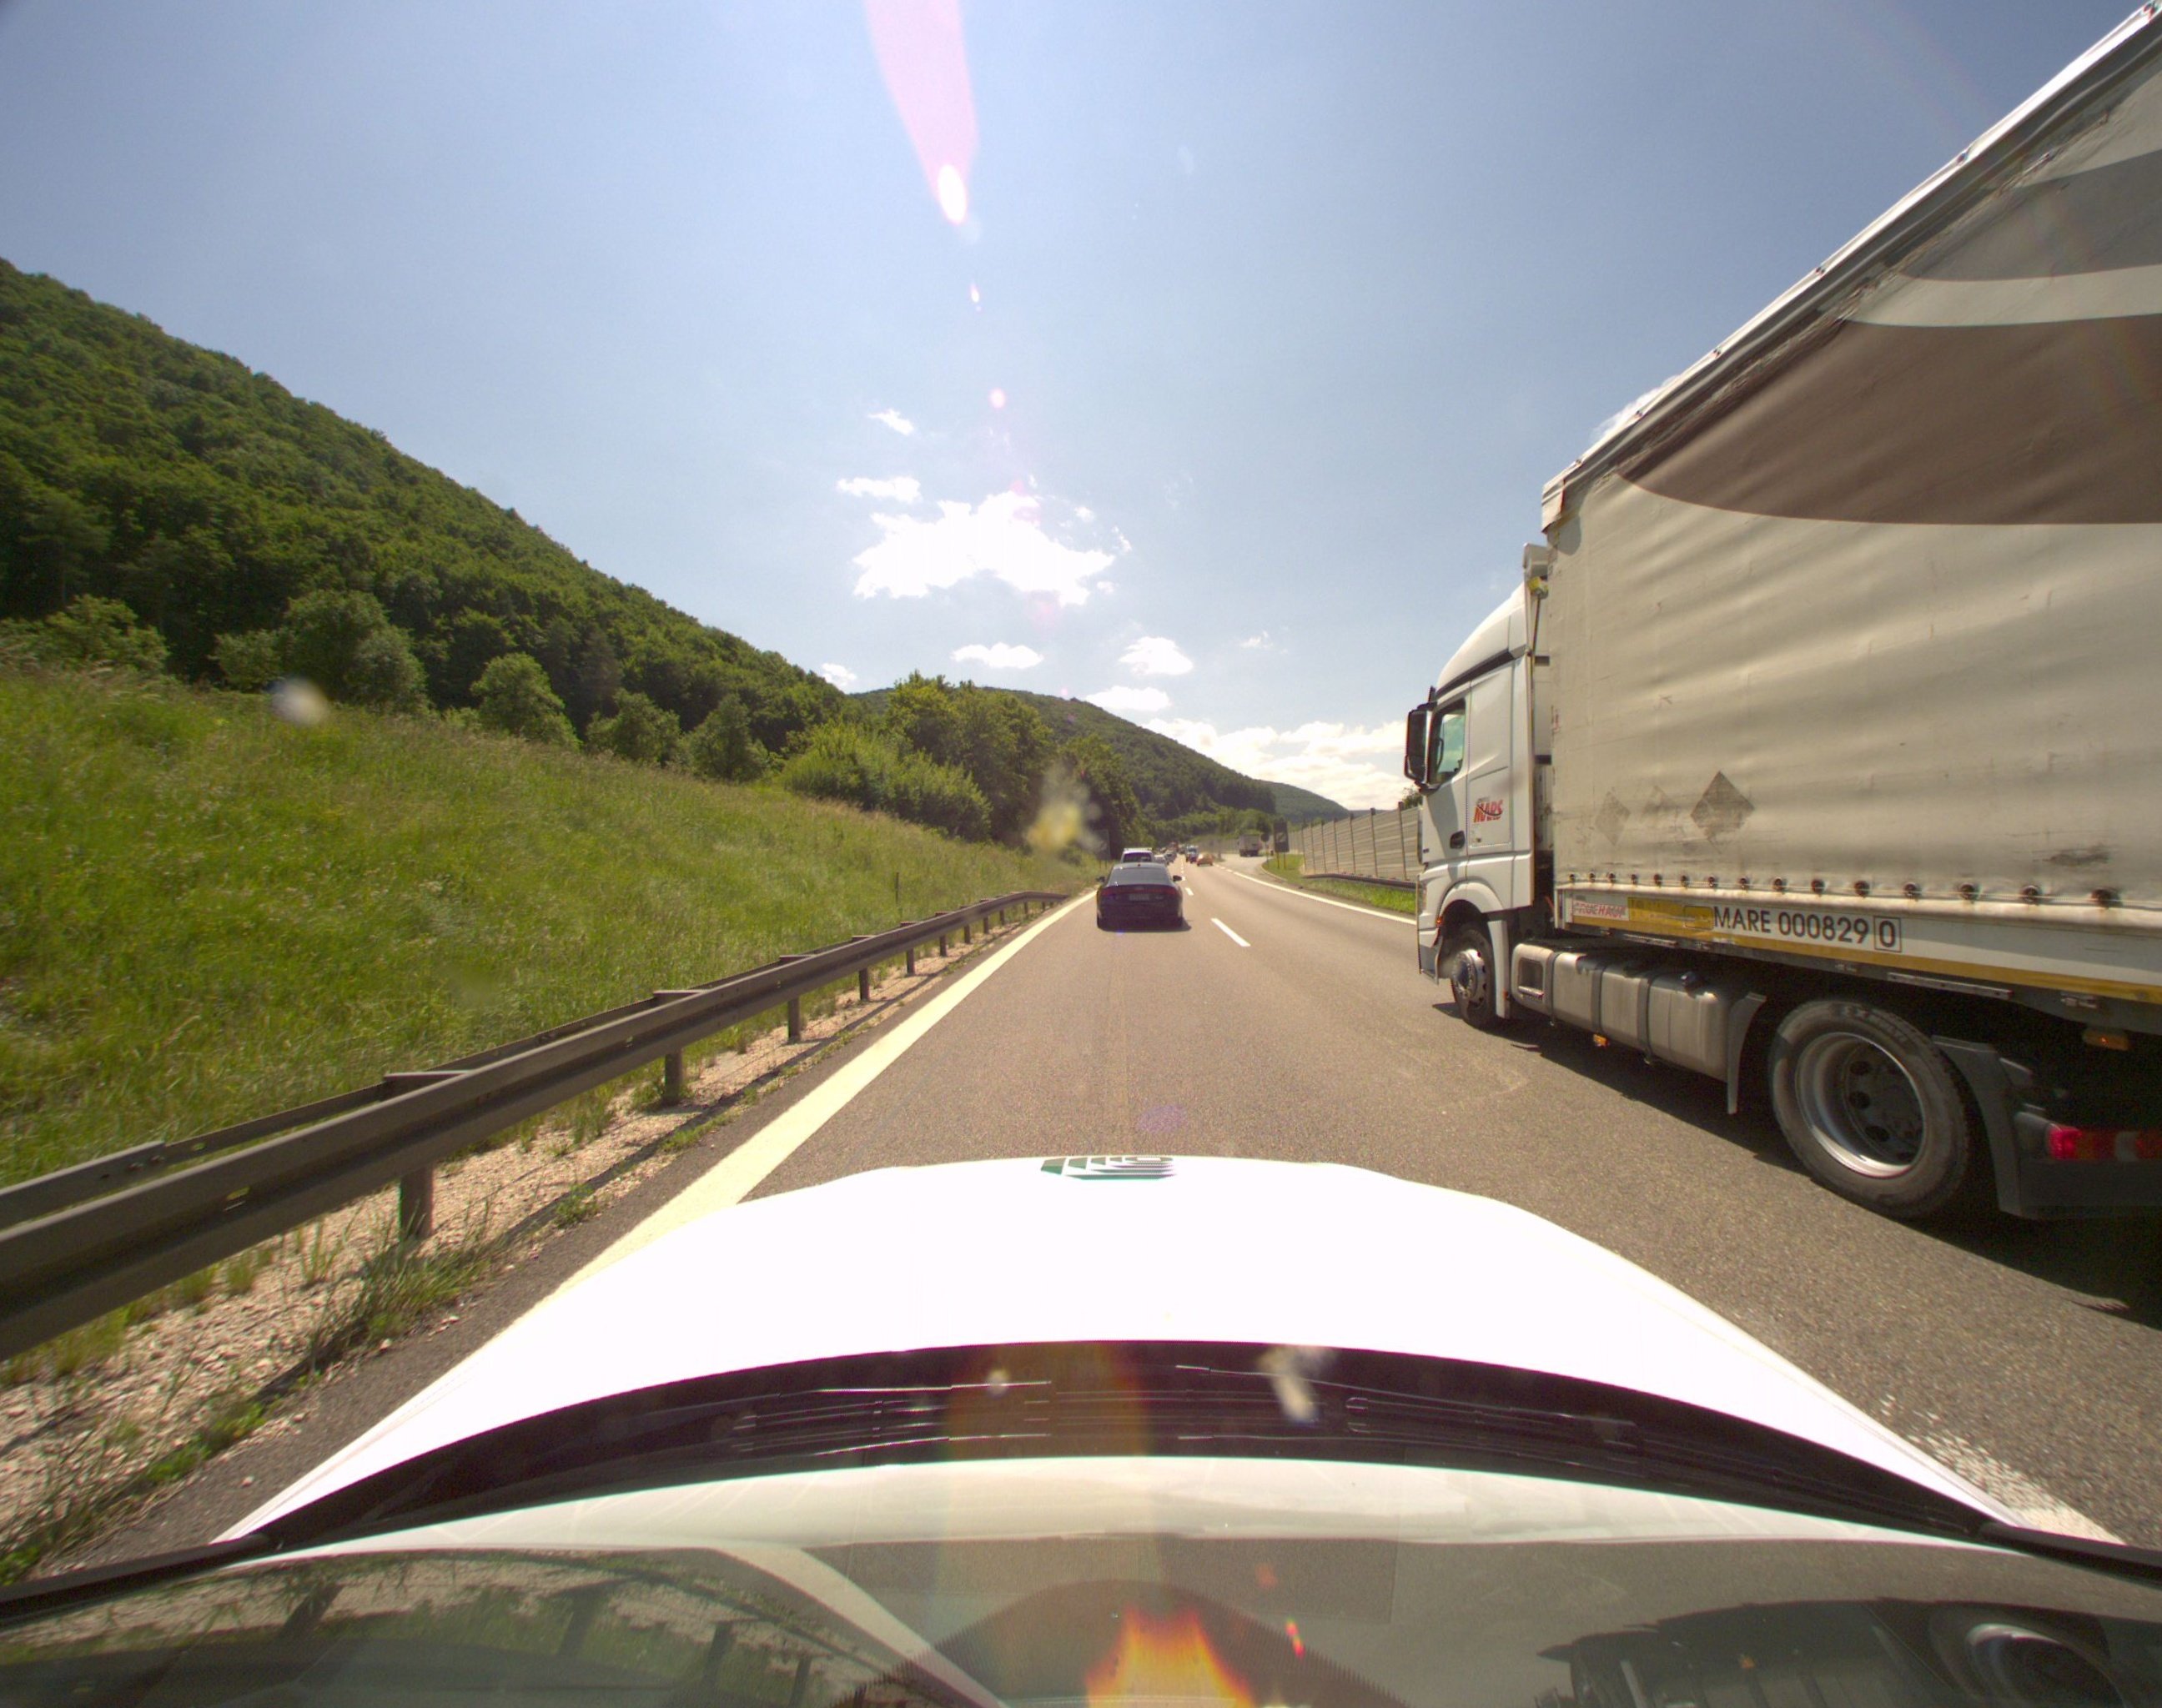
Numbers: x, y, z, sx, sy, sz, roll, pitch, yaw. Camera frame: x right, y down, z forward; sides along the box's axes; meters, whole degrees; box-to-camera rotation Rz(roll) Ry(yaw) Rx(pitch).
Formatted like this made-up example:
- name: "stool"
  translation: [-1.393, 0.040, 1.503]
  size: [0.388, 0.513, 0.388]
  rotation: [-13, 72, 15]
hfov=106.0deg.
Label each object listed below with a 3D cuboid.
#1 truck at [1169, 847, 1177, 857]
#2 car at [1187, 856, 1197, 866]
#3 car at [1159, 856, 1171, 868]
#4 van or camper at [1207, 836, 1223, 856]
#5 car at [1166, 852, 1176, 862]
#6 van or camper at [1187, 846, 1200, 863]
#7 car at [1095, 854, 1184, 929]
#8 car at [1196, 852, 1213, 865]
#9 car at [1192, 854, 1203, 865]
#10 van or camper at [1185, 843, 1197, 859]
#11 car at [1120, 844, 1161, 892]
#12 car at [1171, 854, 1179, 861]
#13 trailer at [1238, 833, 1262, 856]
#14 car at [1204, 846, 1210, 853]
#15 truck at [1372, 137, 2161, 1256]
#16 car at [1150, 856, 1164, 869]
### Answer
- name: "truck"
  translation: [24.585, -0.468, 217.667]
  size: [2.052, 2.605, 5.627]
  rotation: [0, 0, 9]
- name: "car"
  translation: [18.148, 1.186, 133.376]
  size: [1.522, 1.525, 3.604]
  rotation: [0, -1, 7]
- name: "car"
  translation: [11.382, 1.027, 110.115]
  size: [1.513, 1.553, 3.521]
  rotation: [0, 0, 7]
- name: "van or camper"
  translation: [26.414, -1.555, 160.906]
  size: [2.781, 3.841, 6.175]
  rotation: [0, -1, 5]
- name: "car"
  translation: [15.104, 0.472, 135.919]
  size: [1.512, 1.553, 3.522]
  rotation: [0, 0, 8]
- name: "van or camper"
  translation: [22.206, 0.101, 160.844]
  size: [2.416, 3.155, 5.213]
  rotation: [0, -1, 7]
- name: "car"
  translation: [1.309, 0.791, 18.587]
  size: [1.804, 1.514, 3.517]
  rotation: [-1, 0, 3]
- name: "car"
  translation: [14.455, 0.531, 95.224]
  size: [1.869, 1.499, 4.008]
  rotation: [-2, 0, 7]
- name: "car"
  translation: [16.120, 0.816, 112.723]
  size: [1.522, 1.525, 3.604]
  rotation: [0, -1, 7]
- name: "van or camper"
  translation: [28.129, -0.697, 207.999]
  size: [2.781, 3.907, 6.175]
  rotation: [0, -1, 5]
- name: "car"
  translation: [2.670, 0.600, 35.850]
  size: [1.512, 1.968, 3.523]
  rotation: [0, 0, 9]
- name: "car"
  translation: [19.673, 0.725, 170.392]
  size: [1.512, 1.553, 3.522]
  rotation: [0, 0, 8]
- name: "trailer"
  translation: [31.197, -1.689, 150.954]
  size: [3.394, 3.900, 11.172]
  rotation: [-2, 0, 7]
- name: "car"
  translation: [37.064, -1.404, 239.797]
  size: [1.568, 2.013, 3.435]
  rotation: [-2, 0, 7]
- name: "truck"
  translation: [4.514, -0.582, 5.849]
  size: [2.710, 4.068, 5.753]
  rotation: [-1, -1, 0]
- name: "car"
  translation: [8.024, 0.870, 86.165]
  size: [1.514, 1.294, 3.518]
  rotation: [-1, 0, 5]
